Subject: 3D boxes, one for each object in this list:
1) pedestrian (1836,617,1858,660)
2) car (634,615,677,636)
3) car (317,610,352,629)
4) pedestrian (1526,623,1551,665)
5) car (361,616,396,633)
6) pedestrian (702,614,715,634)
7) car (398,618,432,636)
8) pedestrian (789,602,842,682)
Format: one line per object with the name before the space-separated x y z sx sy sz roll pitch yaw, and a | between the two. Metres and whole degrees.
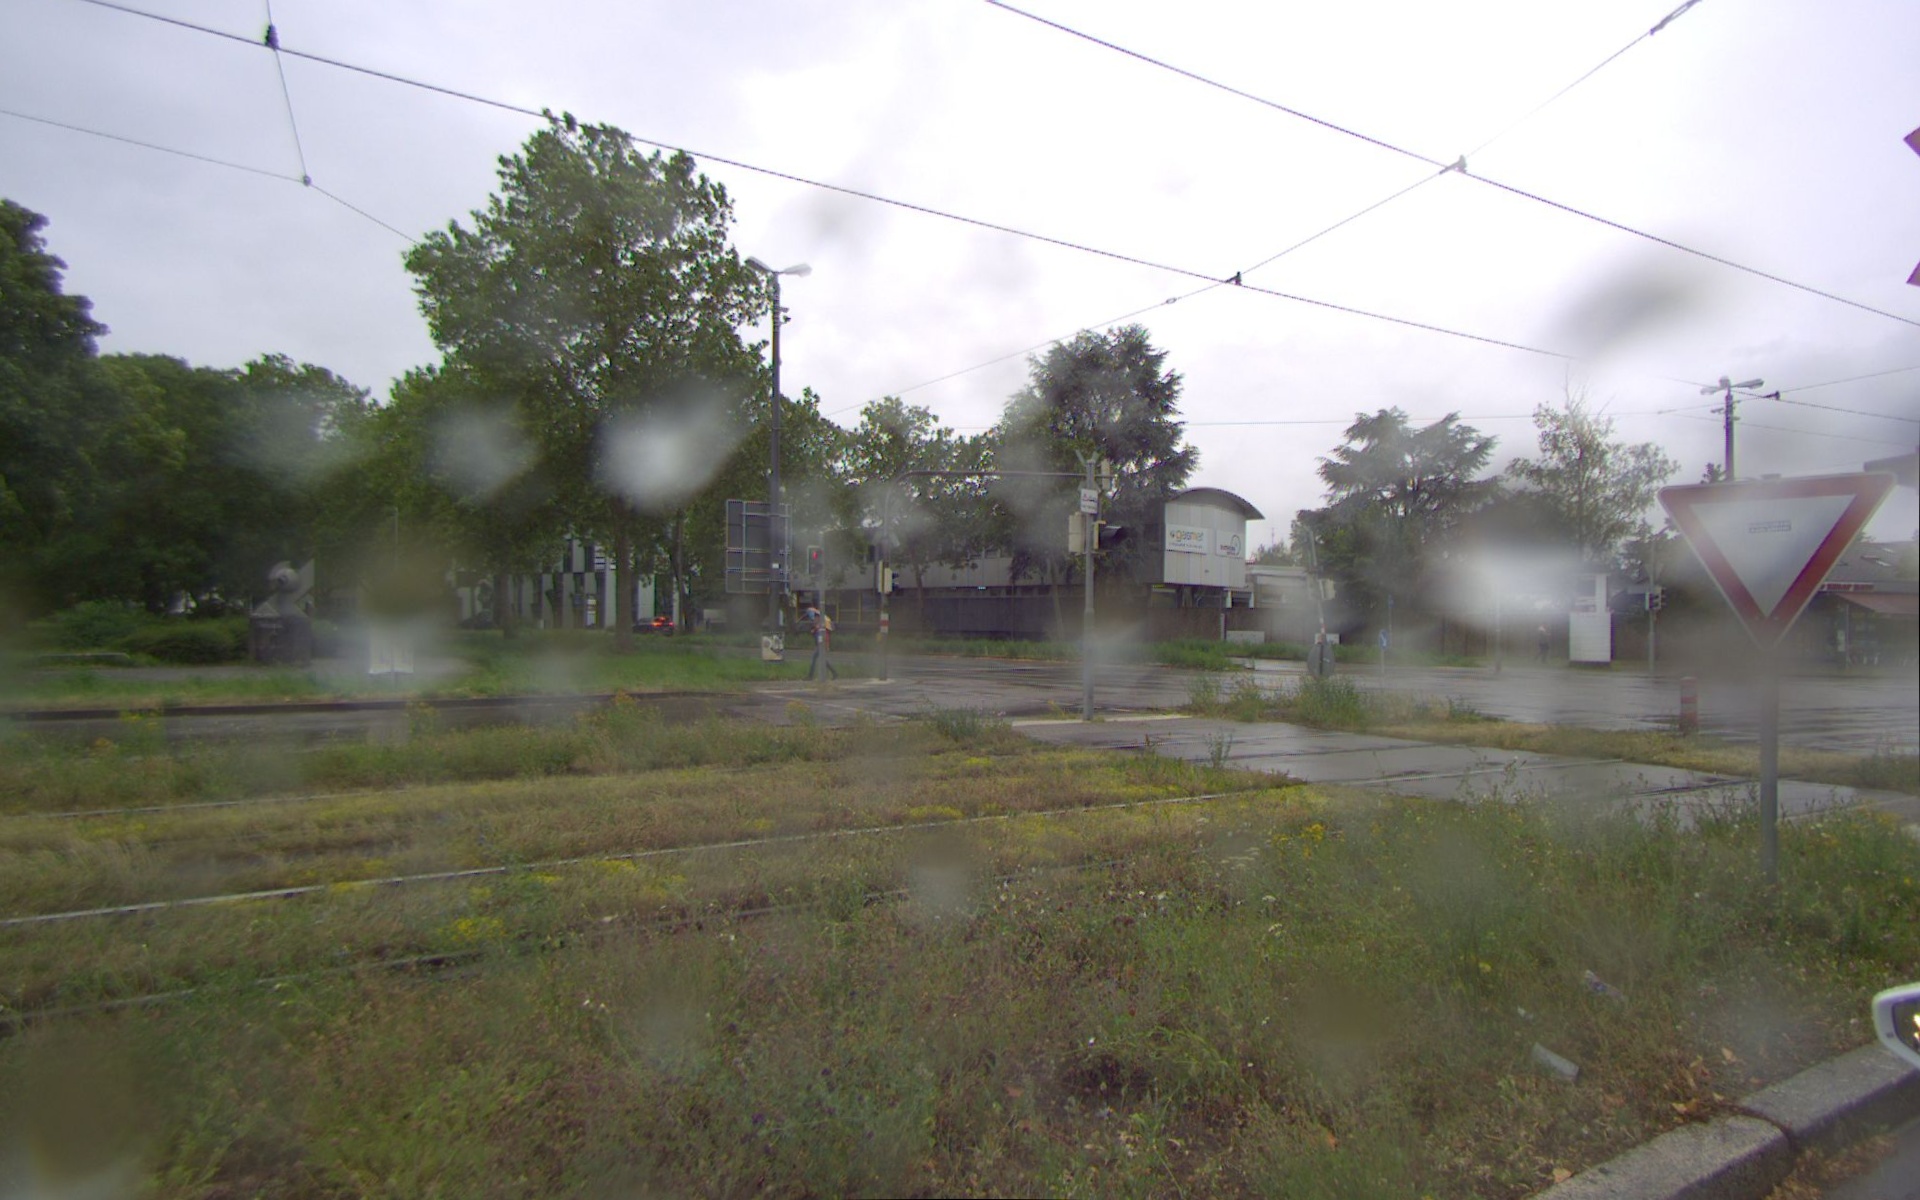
pedestrian | 43.150 1.885 48.854 0.714 2.040 0.791 2 0 38
car | -22.894 1.926 75.432 1.679 1.417 4.087 2 0 -39
car | -75.319 2.371 120.870 3.932 2.116 2.123 2 0 33
pedestrian | 25.775 1.963 44.759 0.870 1.821 0.726 2 1 26
car | -65.907 2.768 113.856 3.934 1.806 1.993 2 0 36
pedestrian | -21.299 2.010 85.154 0.810 1.690 0.672 2 0 27
car | -59.787 2.996 110.235 3.940 1.806 1.990 2 0 41
pedestrian | -3.762 1.072 26.069 0.998 2.017 0.945 2 0 -34
